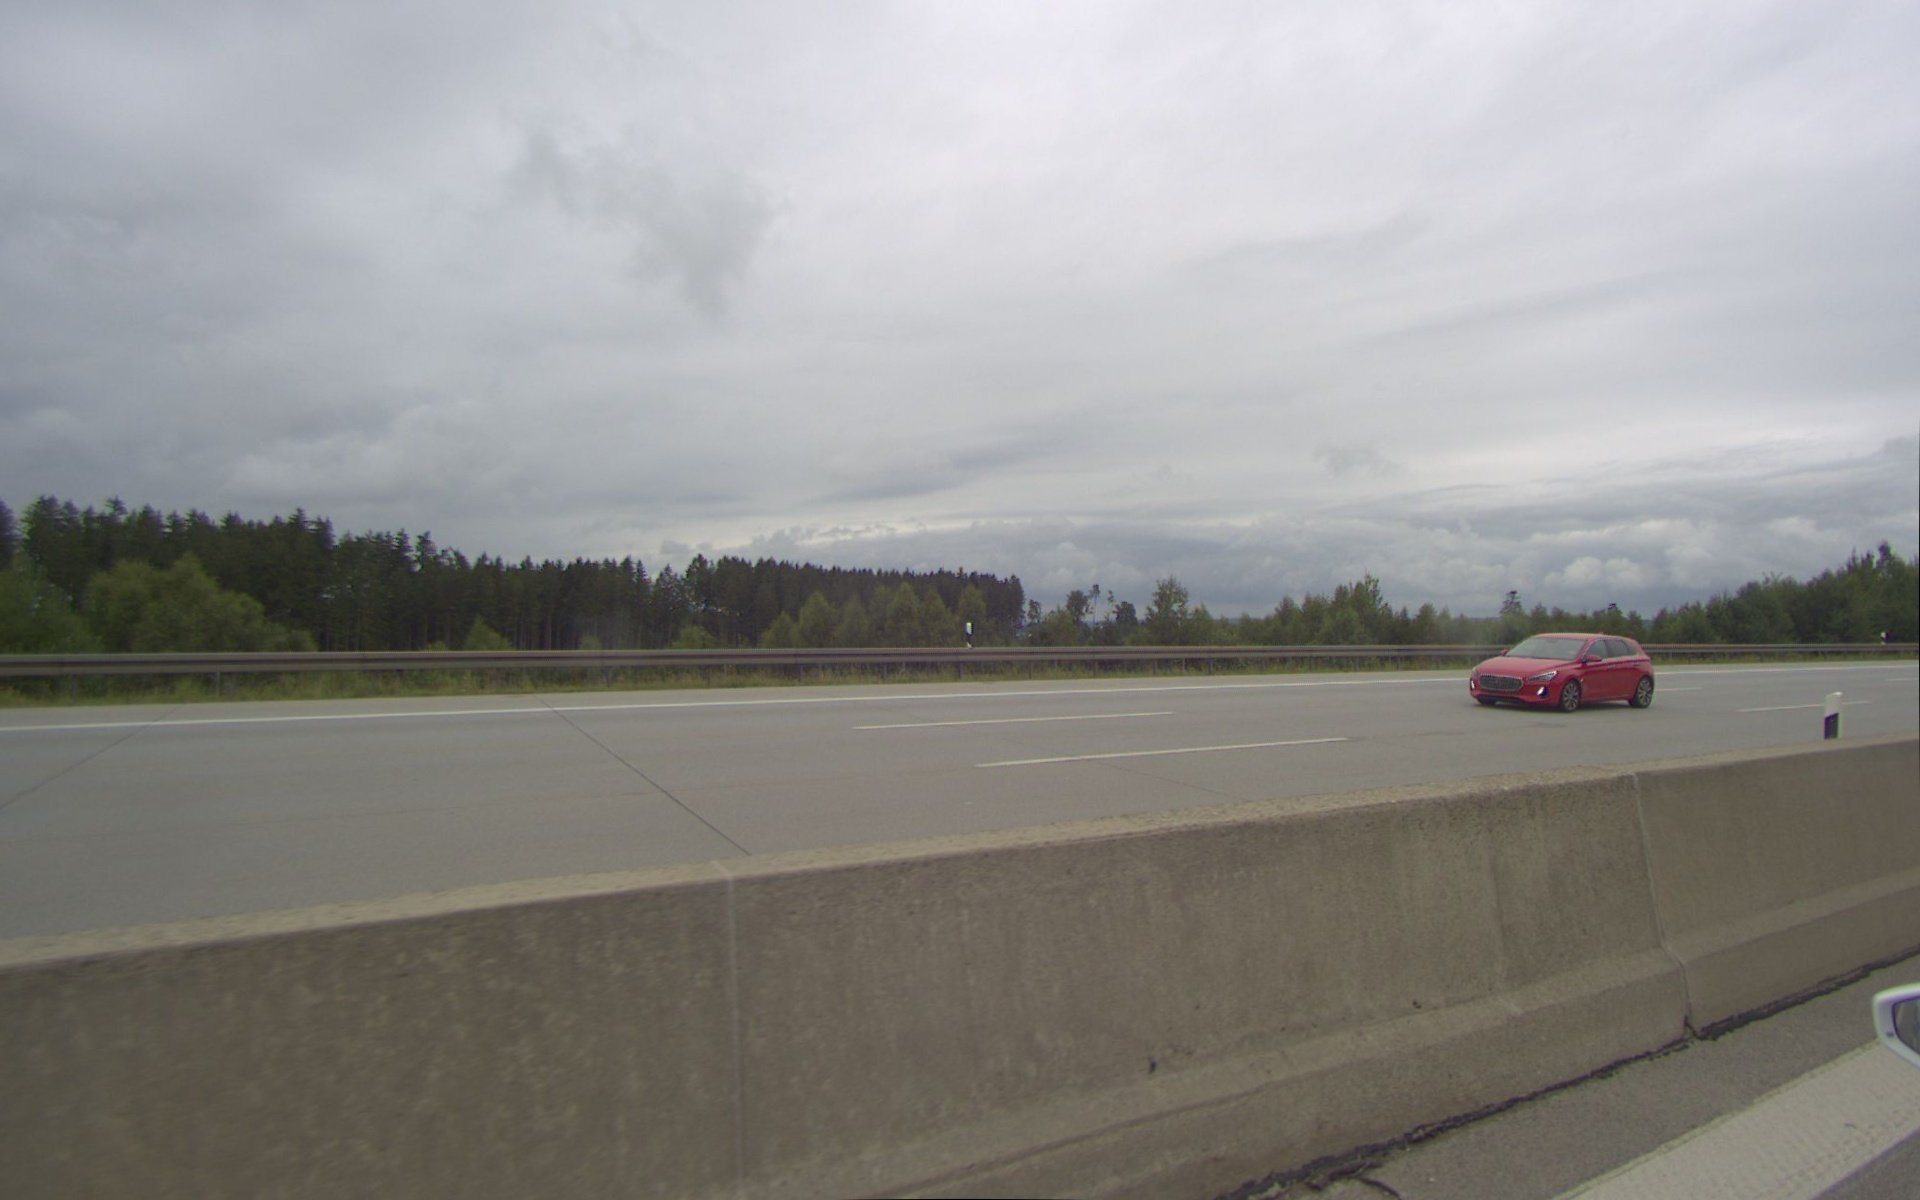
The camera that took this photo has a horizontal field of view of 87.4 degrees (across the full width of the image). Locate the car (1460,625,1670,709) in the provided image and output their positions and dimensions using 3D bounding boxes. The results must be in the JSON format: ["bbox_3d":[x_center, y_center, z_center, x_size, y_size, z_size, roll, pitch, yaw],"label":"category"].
[{"bbox_3d":[12.211,1.340,20.212,4.434,1.528,1.710,3,-2,-30],"label":"car"}]
